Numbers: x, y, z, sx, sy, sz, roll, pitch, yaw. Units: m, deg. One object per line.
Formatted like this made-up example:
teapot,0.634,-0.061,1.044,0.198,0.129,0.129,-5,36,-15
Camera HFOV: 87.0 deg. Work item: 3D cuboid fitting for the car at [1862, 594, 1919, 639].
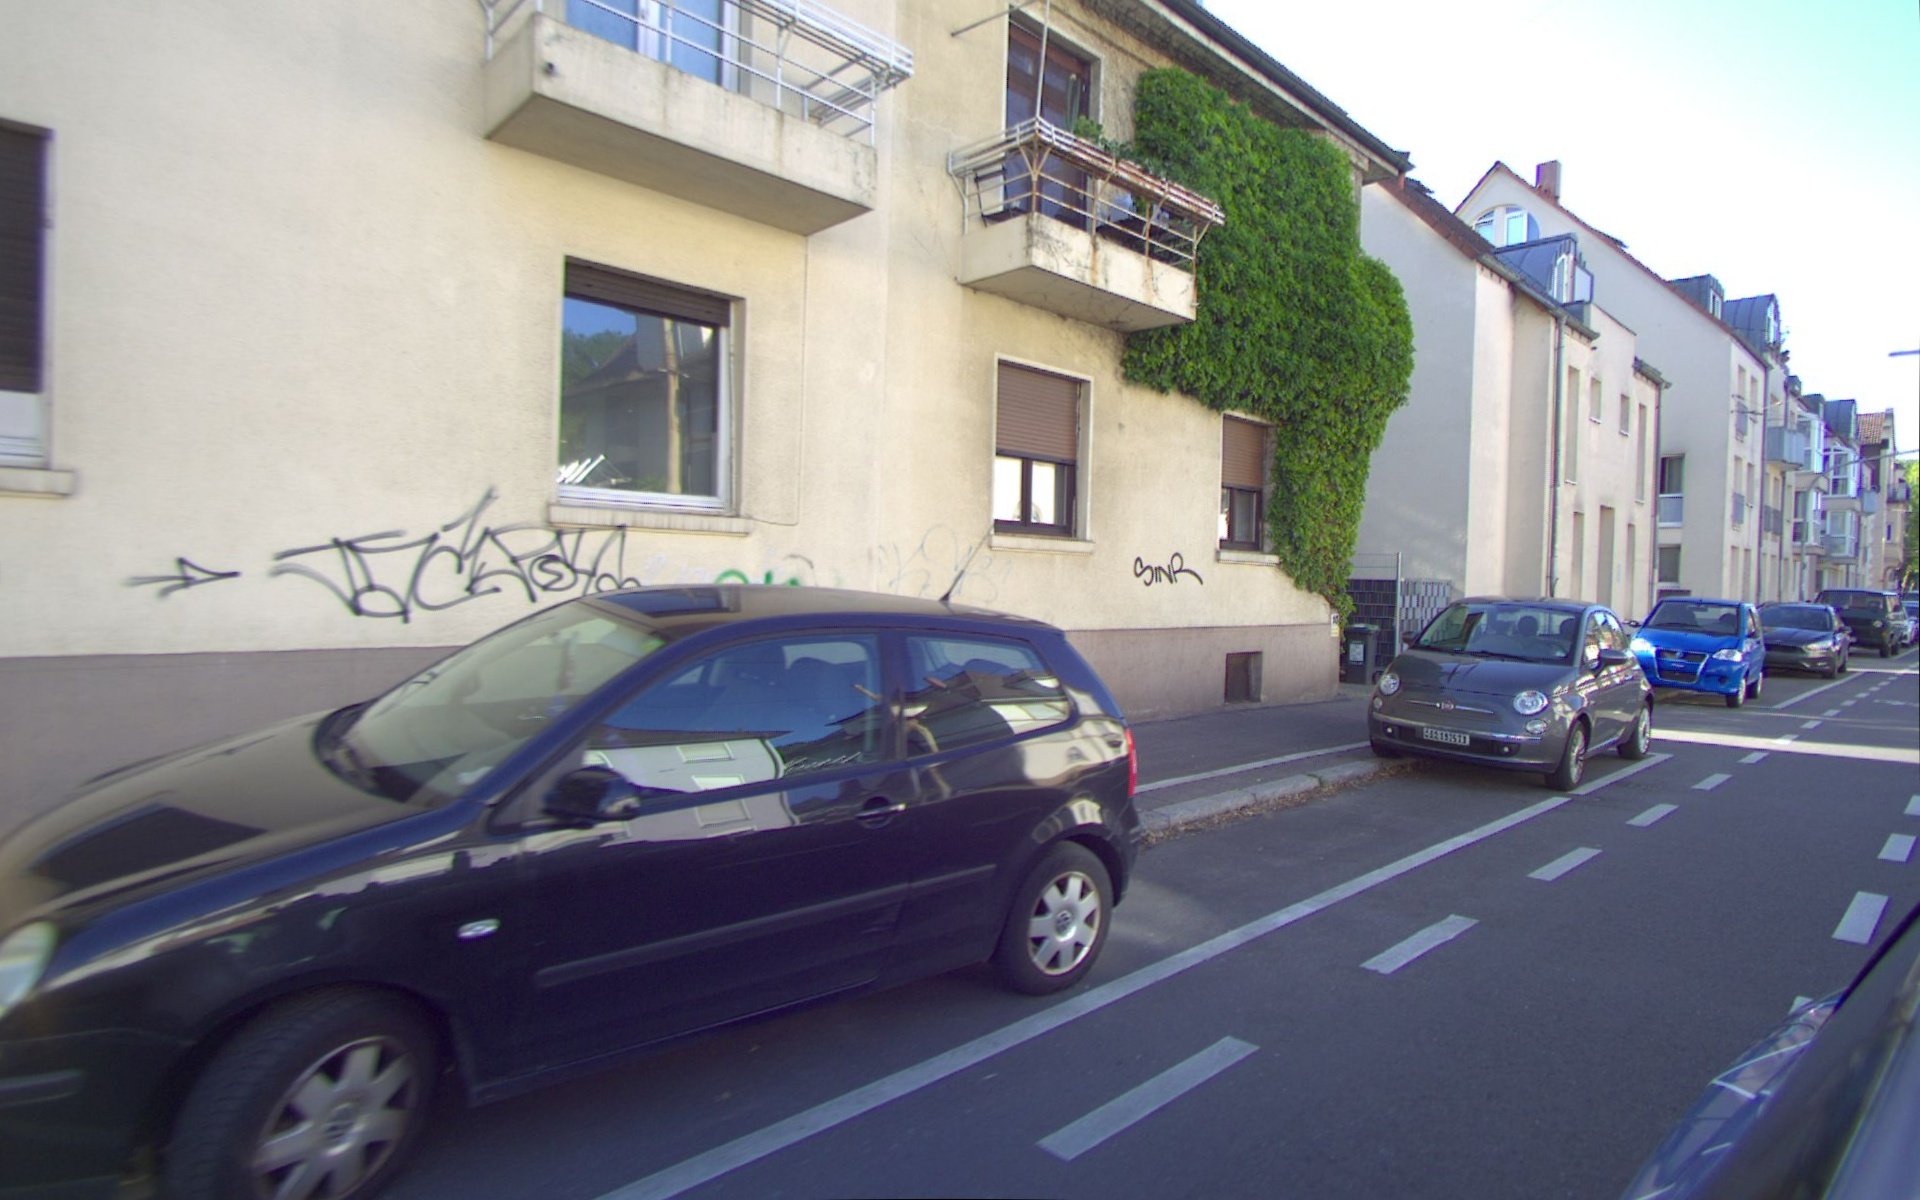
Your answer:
car,33.509,0.562,36.123,4.103,1.510,1.678,0,0,-44

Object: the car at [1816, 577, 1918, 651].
car,26.664,0.376,29.705,4.487,2.012,1.907,0,0,-44

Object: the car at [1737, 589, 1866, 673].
car,18.095,0.594,21.688,4.361,1.619,1.745,0,0,-45

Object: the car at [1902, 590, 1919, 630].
car,43.731,0.437,45.628,3.922,1.721,1.604,0,0,-43

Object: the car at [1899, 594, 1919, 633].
car,40.475,0.554,42.376,3.309,1.577,1.498,0,0,-44

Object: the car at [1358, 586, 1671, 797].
car,5.152,0.664,9.216,3.491,1.544,1.602,0,0,-45

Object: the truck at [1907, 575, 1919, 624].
truck,52.059,0.009,53.602,6.042,2.508,2.299,0,2,-43

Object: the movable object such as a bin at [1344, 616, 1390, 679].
movable object such as a bin,6.357,0.730,15.817,0.493,0.927,0.506,3,2,45

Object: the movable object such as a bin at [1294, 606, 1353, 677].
movable object such as a bin,5.835,0.650,16.240,0.673,1.070,0.629,3,2,45

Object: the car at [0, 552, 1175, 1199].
car,-1.108,0.663,3.550,3.703,1.583,1.670,0,2,-39

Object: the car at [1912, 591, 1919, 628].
car,47.673,0.454,49.218,4.183,1.768,1.741,0,0,-43

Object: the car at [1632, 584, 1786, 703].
car,11.546,0.591,15.535,3.240,1.619,1.458,0,0,-45

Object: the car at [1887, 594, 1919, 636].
car,37.274,0.577,39.372,3.591,1.577,1.555,0,0,-44
